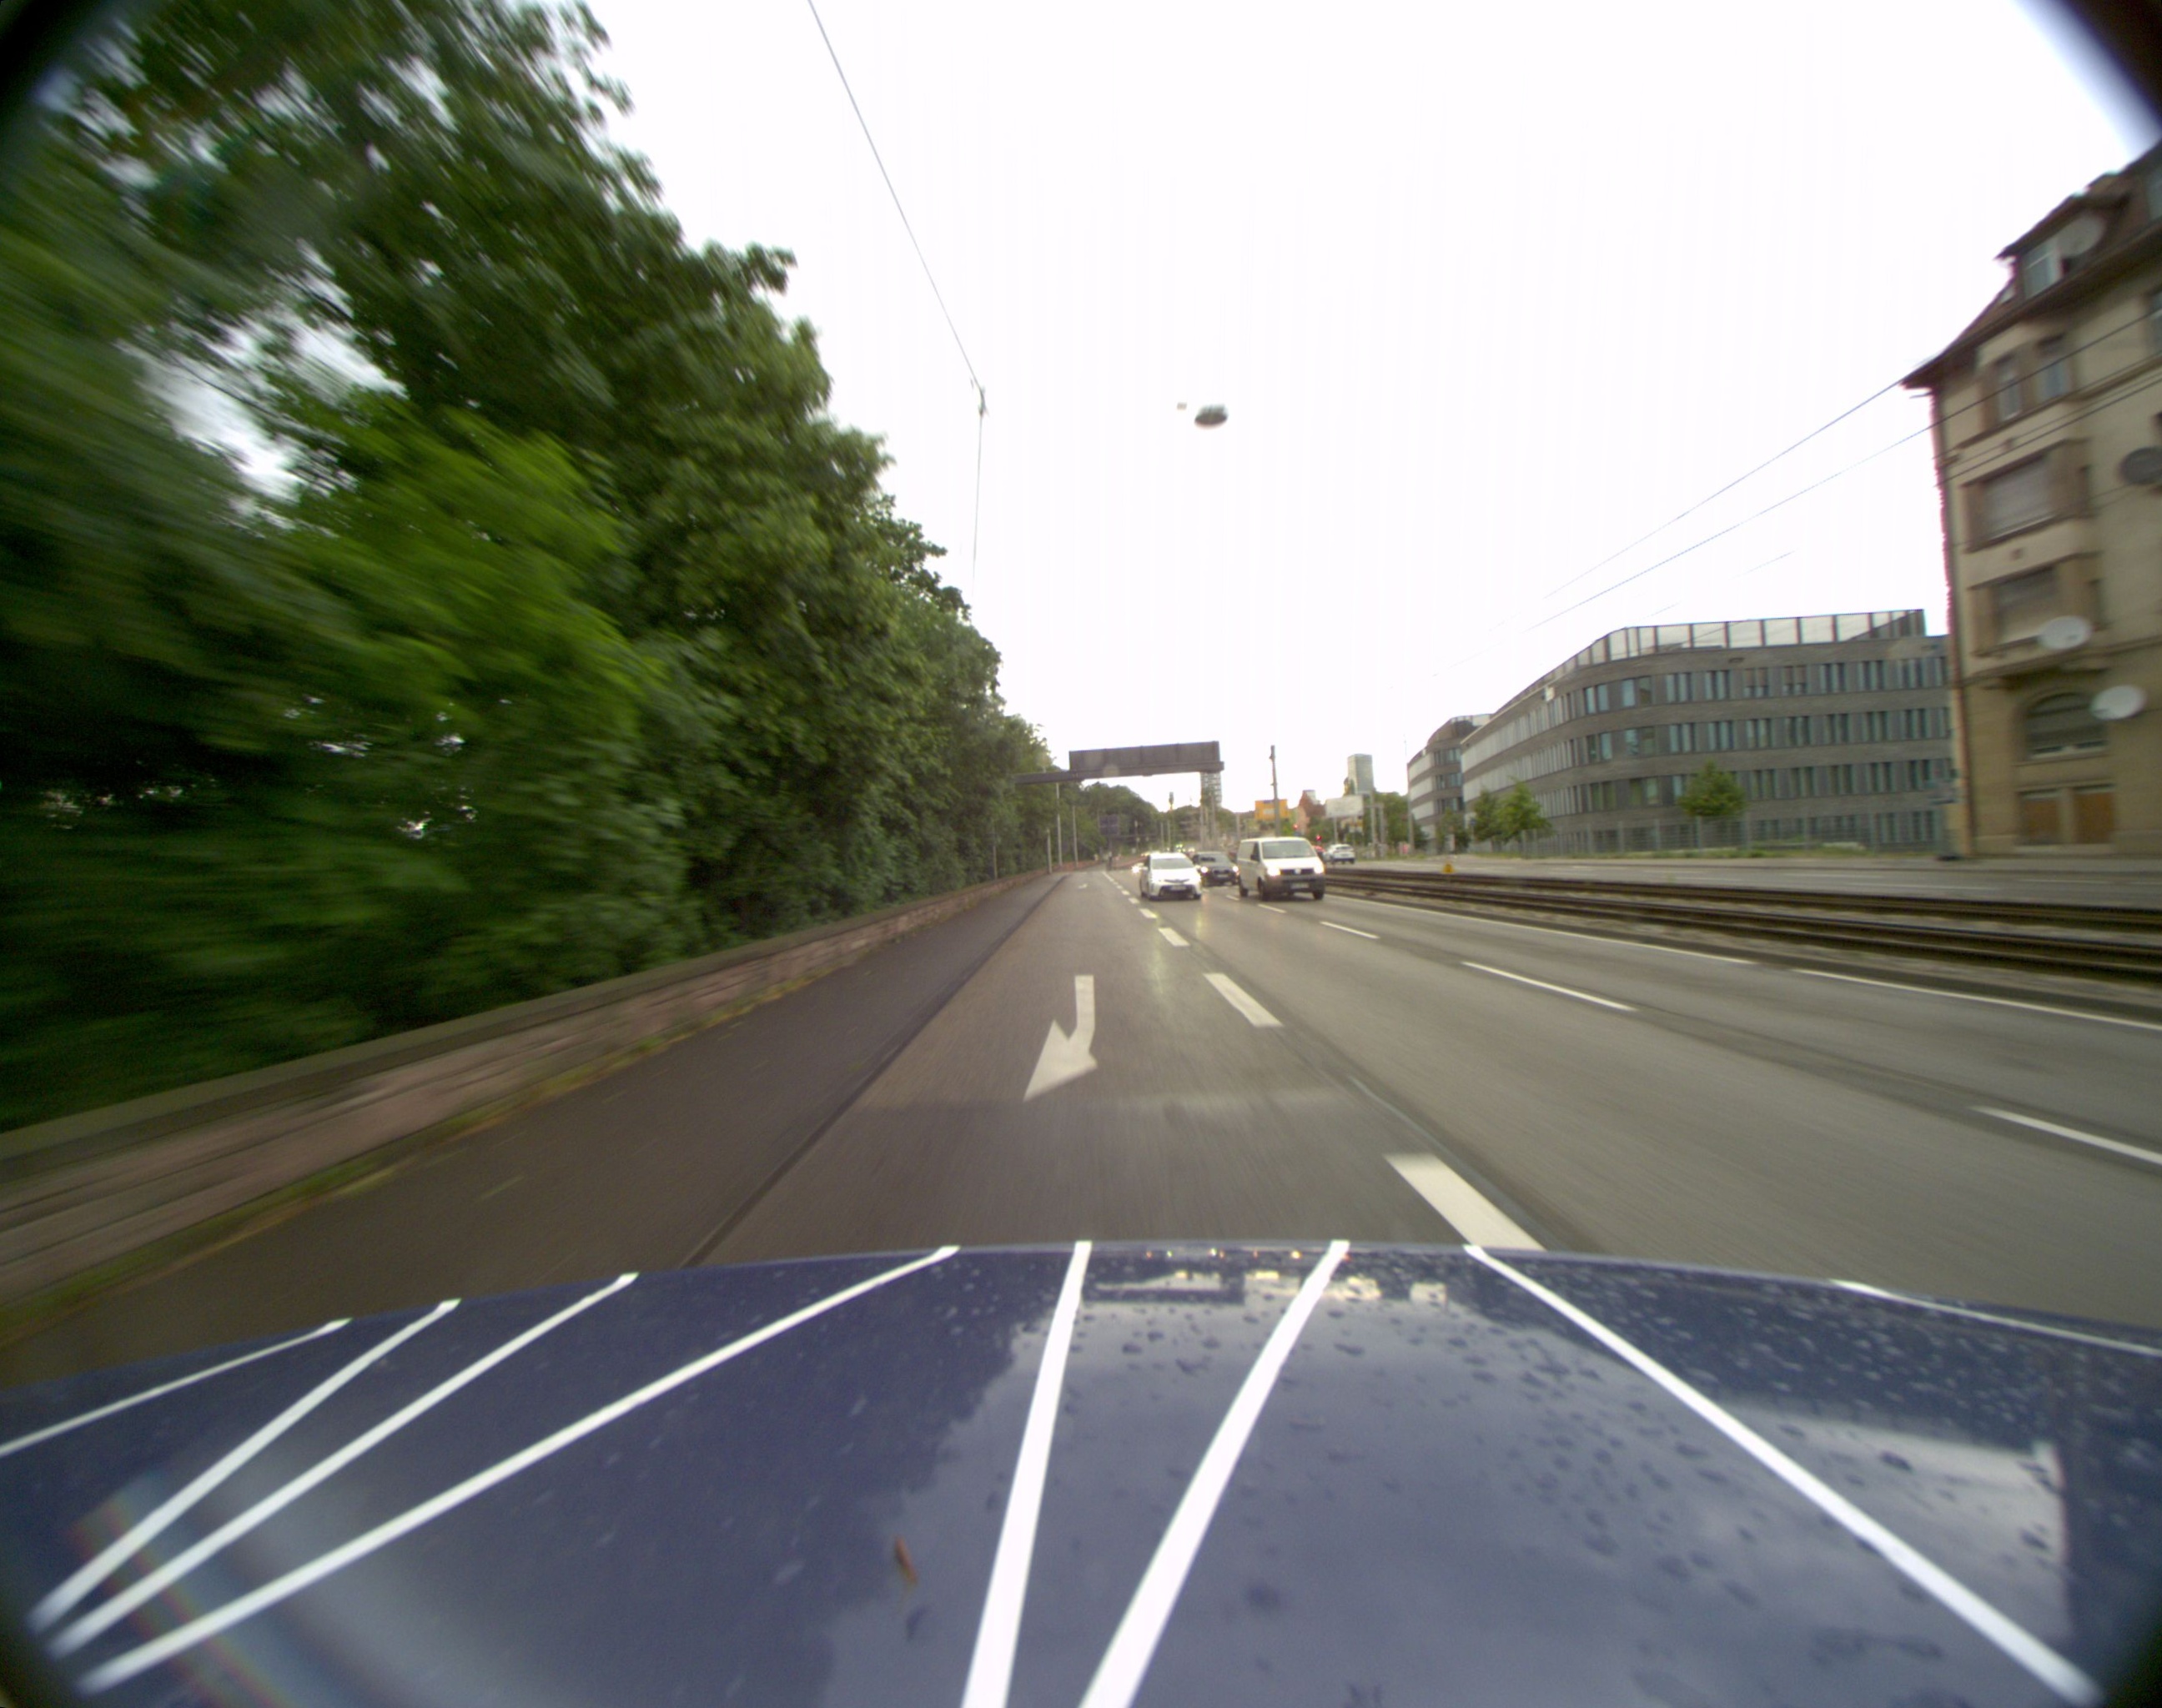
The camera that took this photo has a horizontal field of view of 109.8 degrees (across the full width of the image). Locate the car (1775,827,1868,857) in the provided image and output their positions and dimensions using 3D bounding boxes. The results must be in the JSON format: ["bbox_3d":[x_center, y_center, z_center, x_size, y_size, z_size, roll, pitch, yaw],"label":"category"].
[{"bbox_3d":[44.983,-0.729,46.297,1.745,1.644,3.999,-2,1,0],"label":"car"}]

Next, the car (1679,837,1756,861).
[{"bbox_3d":[38.011,-0.322,45.471,1.622,1.327,3.568,-2,1,0],"label":"car"}]

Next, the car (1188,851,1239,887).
[{"bbox_3d":[6.184,0.665,35.818,1.708,1.564,3.896,-3,0,1],"label":"car"}]

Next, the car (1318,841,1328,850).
[{"bbox_3d":[49.896,-1.740,156.804,1.834,1.787,4.220,-1,0,15],"label":"car"}]

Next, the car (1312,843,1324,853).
[{"bbox_3d":[43.124,-1.107,138.419,1.834,1.787,4.220,-1,0,15],"label":"car"}]

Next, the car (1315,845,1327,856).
[{"bbox_3d":[41.821,-0.625,132.622,1.834,1.787,4.220,-1,0,15],"label":"car"}]

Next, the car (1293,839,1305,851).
[{"bbox_3d":[48.774,-2.038,170.243,2.335,2.453,7.032,-2,1,14],"label":"car"}]

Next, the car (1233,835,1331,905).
[{"bbox_3d":[6.336,0.468,24.492,1.914,1.947,4.718,-3,0,1],"label":"car"}]

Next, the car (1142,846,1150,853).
[{"bbox_3d":[20.551,-1.426,240.797,1.998,2.002,3.999,-2,1,1],"label":"car"}]

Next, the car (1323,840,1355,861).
[{"bbox_3d":[22.020,-0.308,64.982,1.749,1.587,4.491,-3,0,8],"label":"car"}]

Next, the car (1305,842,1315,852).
[{"bbox_3d":[43.223,-1.321,143.588,1.668,1.893,4.004,-2,1,17],"label":"car"}]

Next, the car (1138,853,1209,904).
[{"bbox_3d":[3.149,0.783,26.782,1.982,1.564,4.319,-3,0,1],"label":"car"}]

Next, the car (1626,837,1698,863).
[{"bbox_3d":[34.654,-0.261,45.439,1.545,1.428,3.568,-2,1,0],"label":"car"}]

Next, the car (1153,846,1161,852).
[{"bbox_3d":[23.701,-1.601,237.711,1.998,2.002,3.999,-2,1,1],"label":"car"}]

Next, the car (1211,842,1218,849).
[{"bbox_3d":[39.615,-2.412,224.980,1.997,1.936,4.002,-2,1,9],"label":"car"}]

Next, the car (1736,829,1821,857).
[{"bbox_3d":[42.466,-0.653,46.377,1.745,1.535,3.788,-2,1,0],"label":"car"}]
